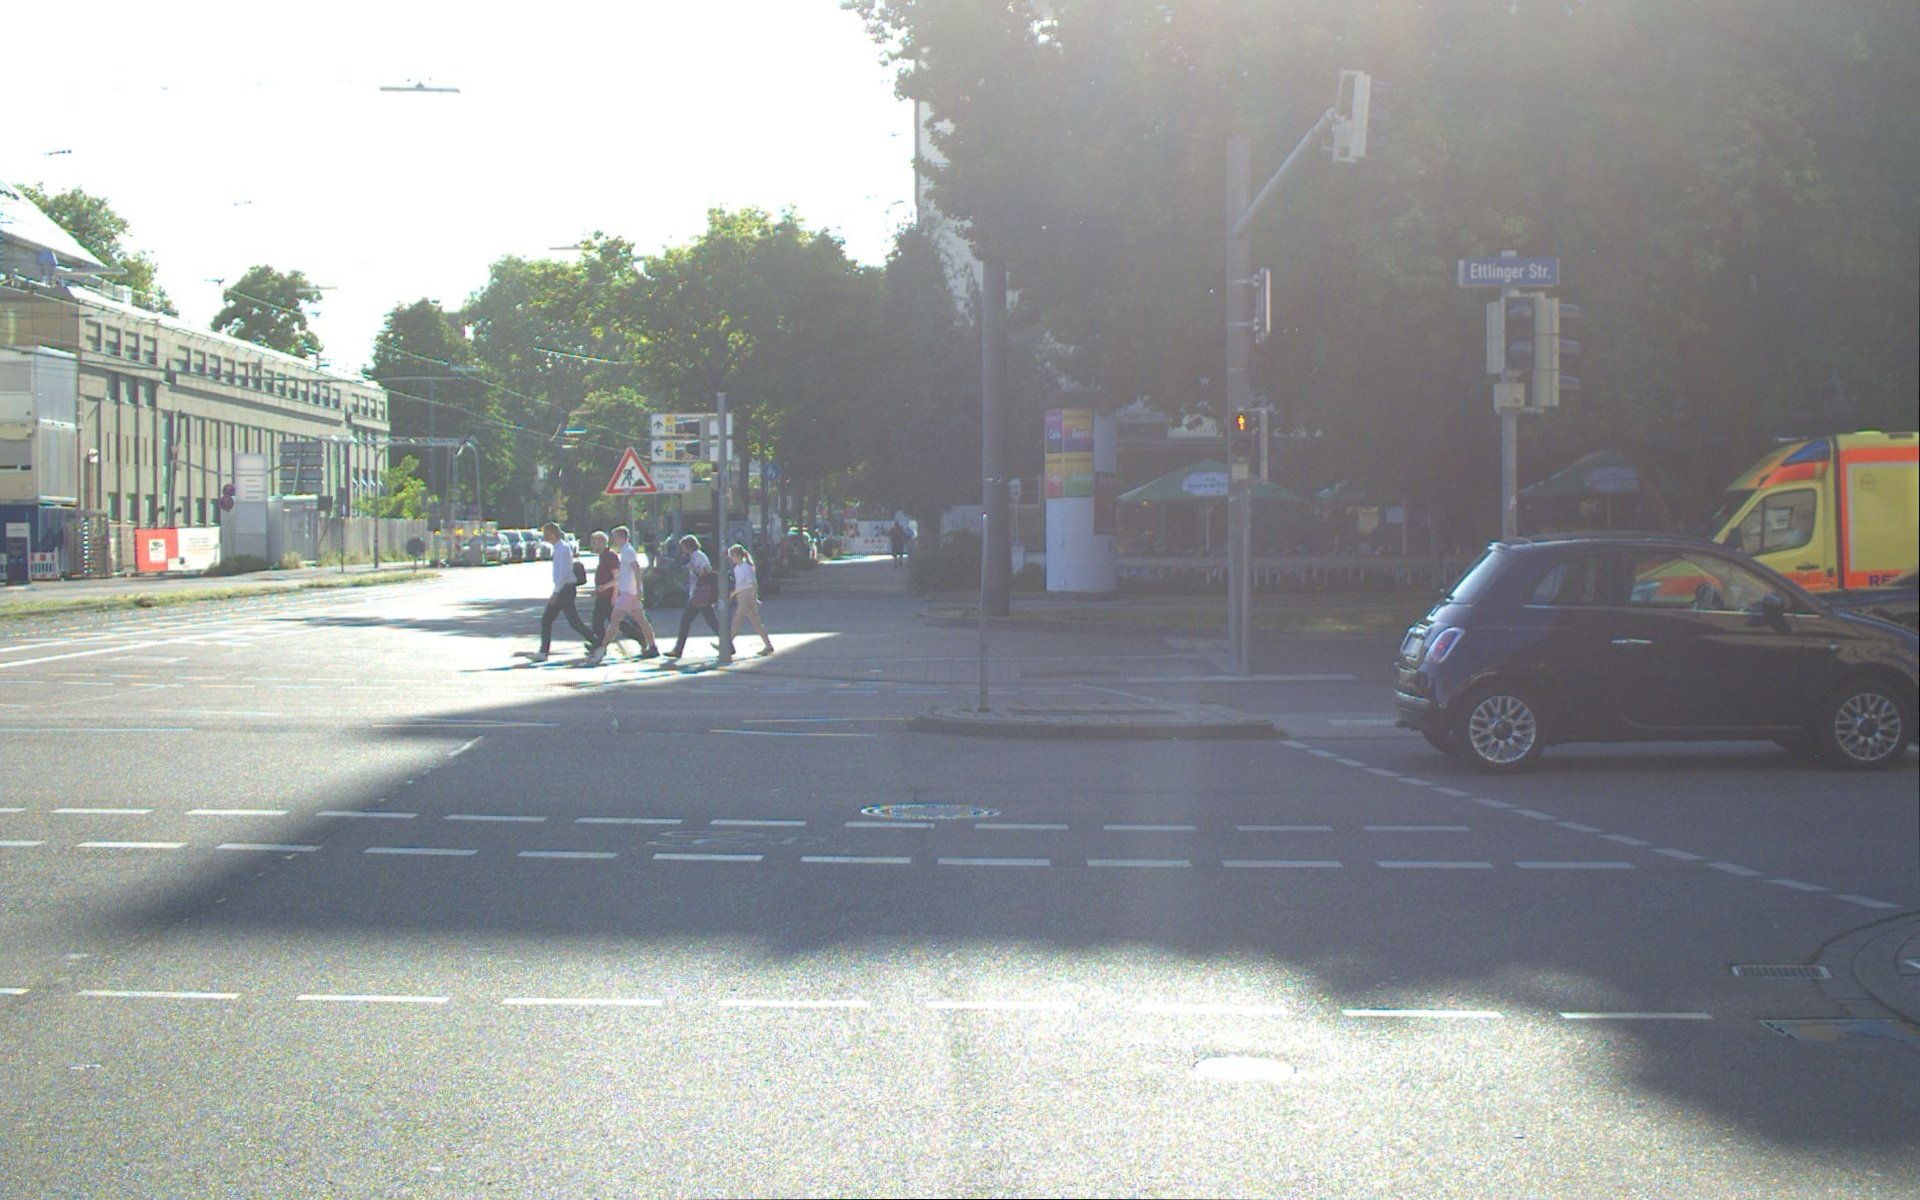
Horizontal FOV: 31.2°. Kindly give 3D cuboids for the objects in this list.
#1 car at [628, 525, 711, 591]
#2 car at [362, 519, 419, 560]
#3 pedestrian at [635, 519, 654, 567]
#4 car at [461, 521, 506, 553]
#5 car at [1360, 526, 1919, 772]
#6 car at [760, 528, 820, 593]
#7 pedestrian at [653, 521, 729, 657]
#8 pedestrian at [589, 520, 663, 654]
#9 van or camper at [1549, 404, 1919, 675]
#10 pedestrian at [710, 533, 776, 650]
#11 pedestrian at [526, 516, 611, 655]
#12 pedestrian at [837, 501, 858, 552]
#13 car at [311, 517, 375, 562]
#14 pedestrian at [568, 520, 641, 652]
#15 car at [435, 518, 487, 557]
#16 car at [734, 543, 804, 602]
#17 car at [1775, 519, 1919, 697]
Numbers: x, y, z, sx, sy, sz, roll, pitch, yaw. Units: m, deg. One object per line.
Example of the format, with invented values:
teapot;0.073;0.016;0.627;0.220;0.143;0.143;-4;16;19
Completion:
car;-6.896;-0.975;81.863;1.684;1.495;3.509;1;0;-1
car;-23.903;-2.535;144.374;1.819;1.706;3.806;0;1;-1
pedestrian;-9.829;-1.769;106.963;0.524;1.479;0.437;1;0;-2
car;-22.166;-2.929;159.940;1.609;1.493;3.806;0;1;-1
car;4.447;0.294;22.045;3.530;1.501;1.523;0;1;-3
car;-5.305;-1.218;107.635;1.684;1.955;3.509;1;0;-1
pedestrian;-3.561;-0.154;45.437;0.847;1.778;0.780;-1;1;-17
pedestrian;-4.482;-0.179;46.094;0.847;1.778;0.780;-1;1;-17
van or camper;10.192;-0.622;38.680;6.709;2.852;2.910;1;0;4
pedestrian;-2.922;-0.115;46.269;0.762;1.553;0.588;-1;1;-17
pedestrian;-5.100;-0.195;44.738;0.965;1.778;0.780;-1;1;-17
pedestrian;-8.052;-5.247;245.779;1.401;3.584;1.568;1;0;-1
car;-23.949;-2.351;133.466;1.819;1.706;3.806;0;1;-1
pedestrian;-4.849;-0.196;46.839;0.847;1.778;0.780;-1;1;-17
car;-22.639;-2.843;155.976;1.819;1.706;3.806;0;1;-1
car;-5.087;-0.720;92.023;1.684;1.495;3.509;1;0;-1
car;10.214;0.116;32.969;4.314;1.641;1.888;1;0;0
